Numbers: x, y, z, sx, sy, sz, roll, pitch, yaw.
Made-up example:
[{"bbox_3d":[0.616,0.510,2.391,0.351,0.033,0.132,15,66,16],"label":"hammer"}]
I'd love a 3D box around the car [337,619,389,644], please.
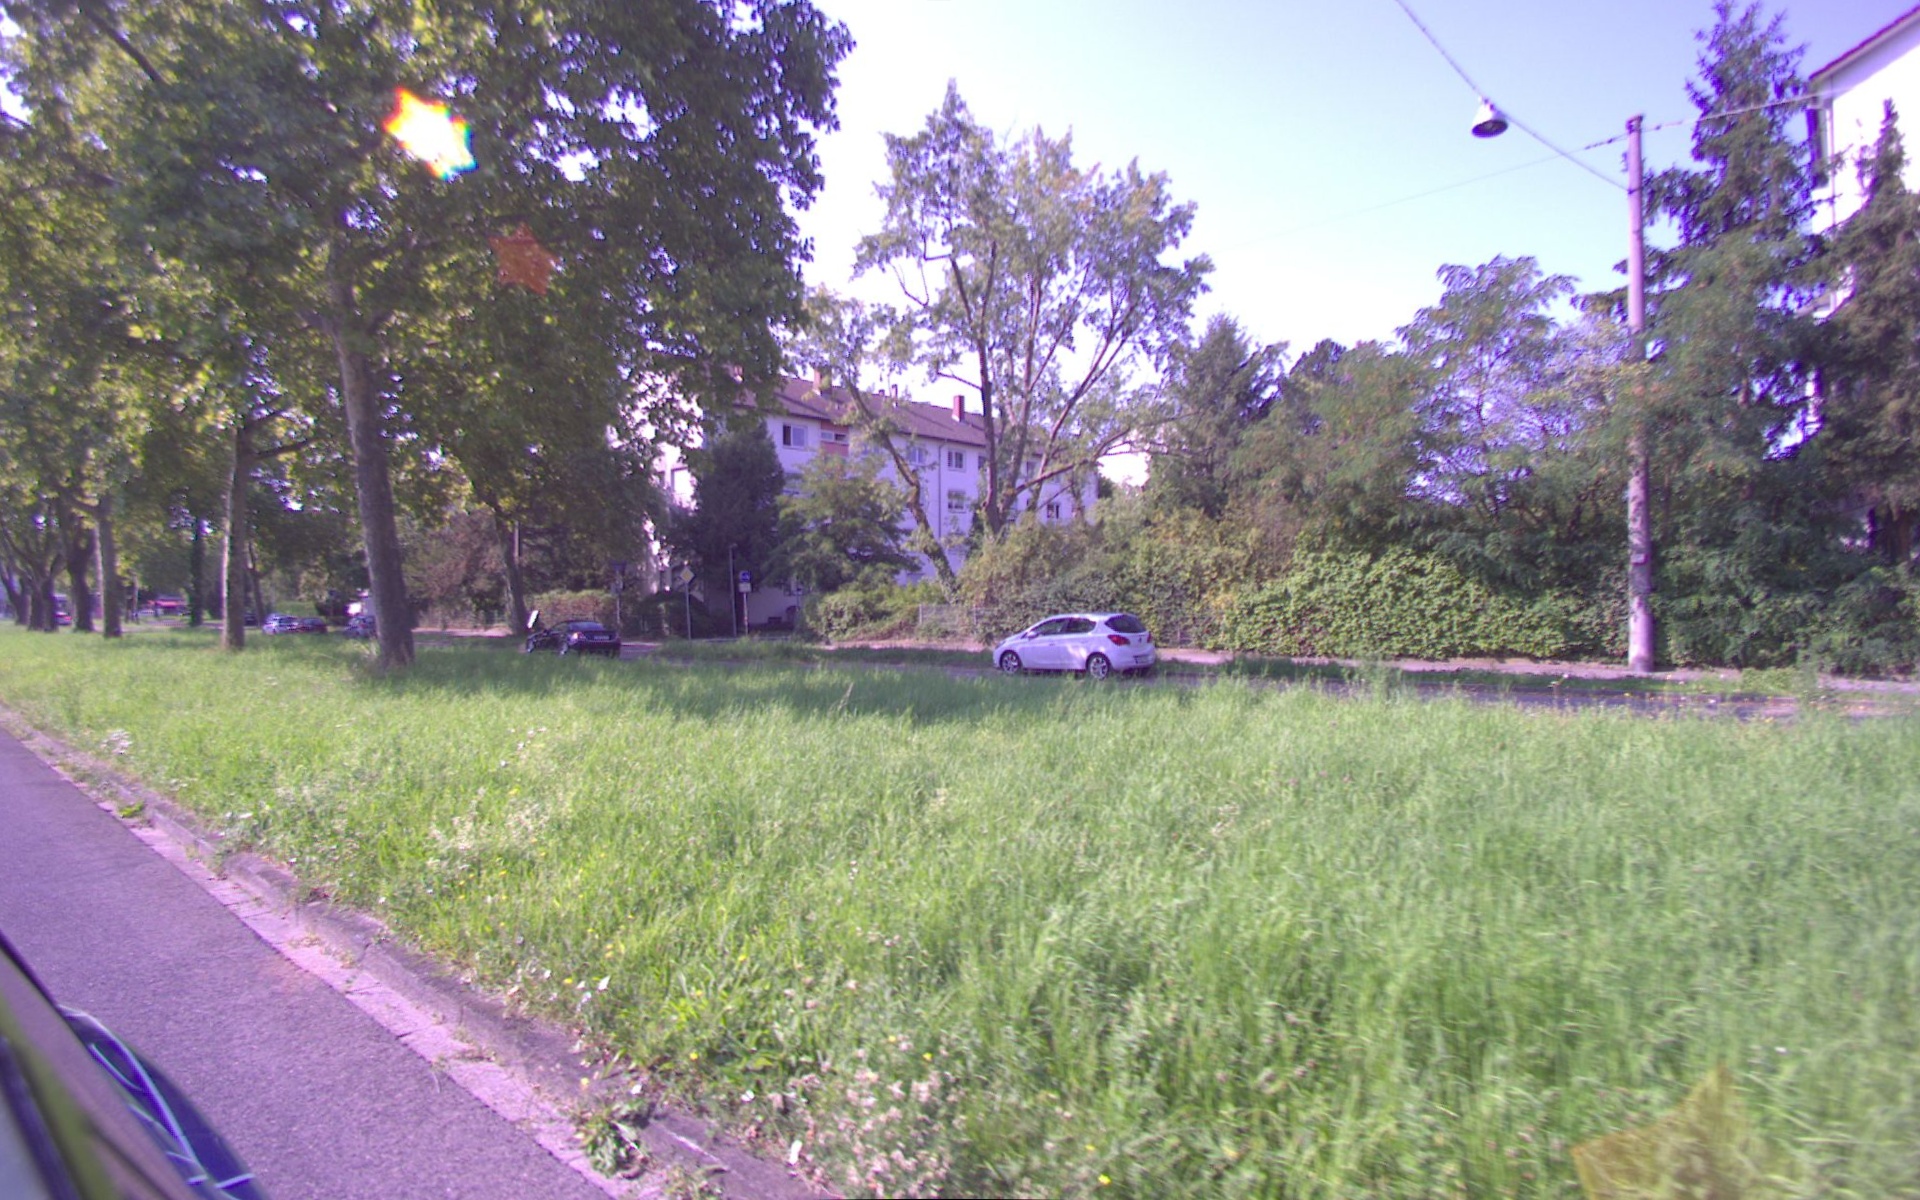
[{"bbox_3d":[-33.342,1.759,56.482,3.524,1.301,1.591,-1,0,44],"label":"car"}]

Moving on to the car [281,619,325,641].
[{"bbox_3d":[-41.819,1.917,64.370,3.524,1.301,1.591,-1,0,44],"label":"car"}]

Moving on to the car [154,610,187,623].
[{"bbox_3d":[-126.629,2.659,162.308,3.966,2.109,1.834,1,-1,-44],"label":"car"}]

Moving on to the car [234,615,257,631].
[{"bbox_3d":[-78.637,2.529,111.326,1.625,1.684,3.738,1,-1,-42],"label":"car"}]

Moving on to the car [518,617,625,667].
[{"bbox_3d":[-12.627,1.304,32.819,3.897,1.490,1.628,-1,0,42],"label":"car"}]

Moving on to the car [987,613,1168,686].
[{"bbox_3d":[2.625,1.058,23.132,3.897,1.490,1.628,-1,0,42],"label":"car"}]

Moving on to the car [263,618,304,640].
[{"bbox_3d":[-45.343,1.923,67.836,3.523,1.417,1.591,-1,-1,44],"label":"car"}]
